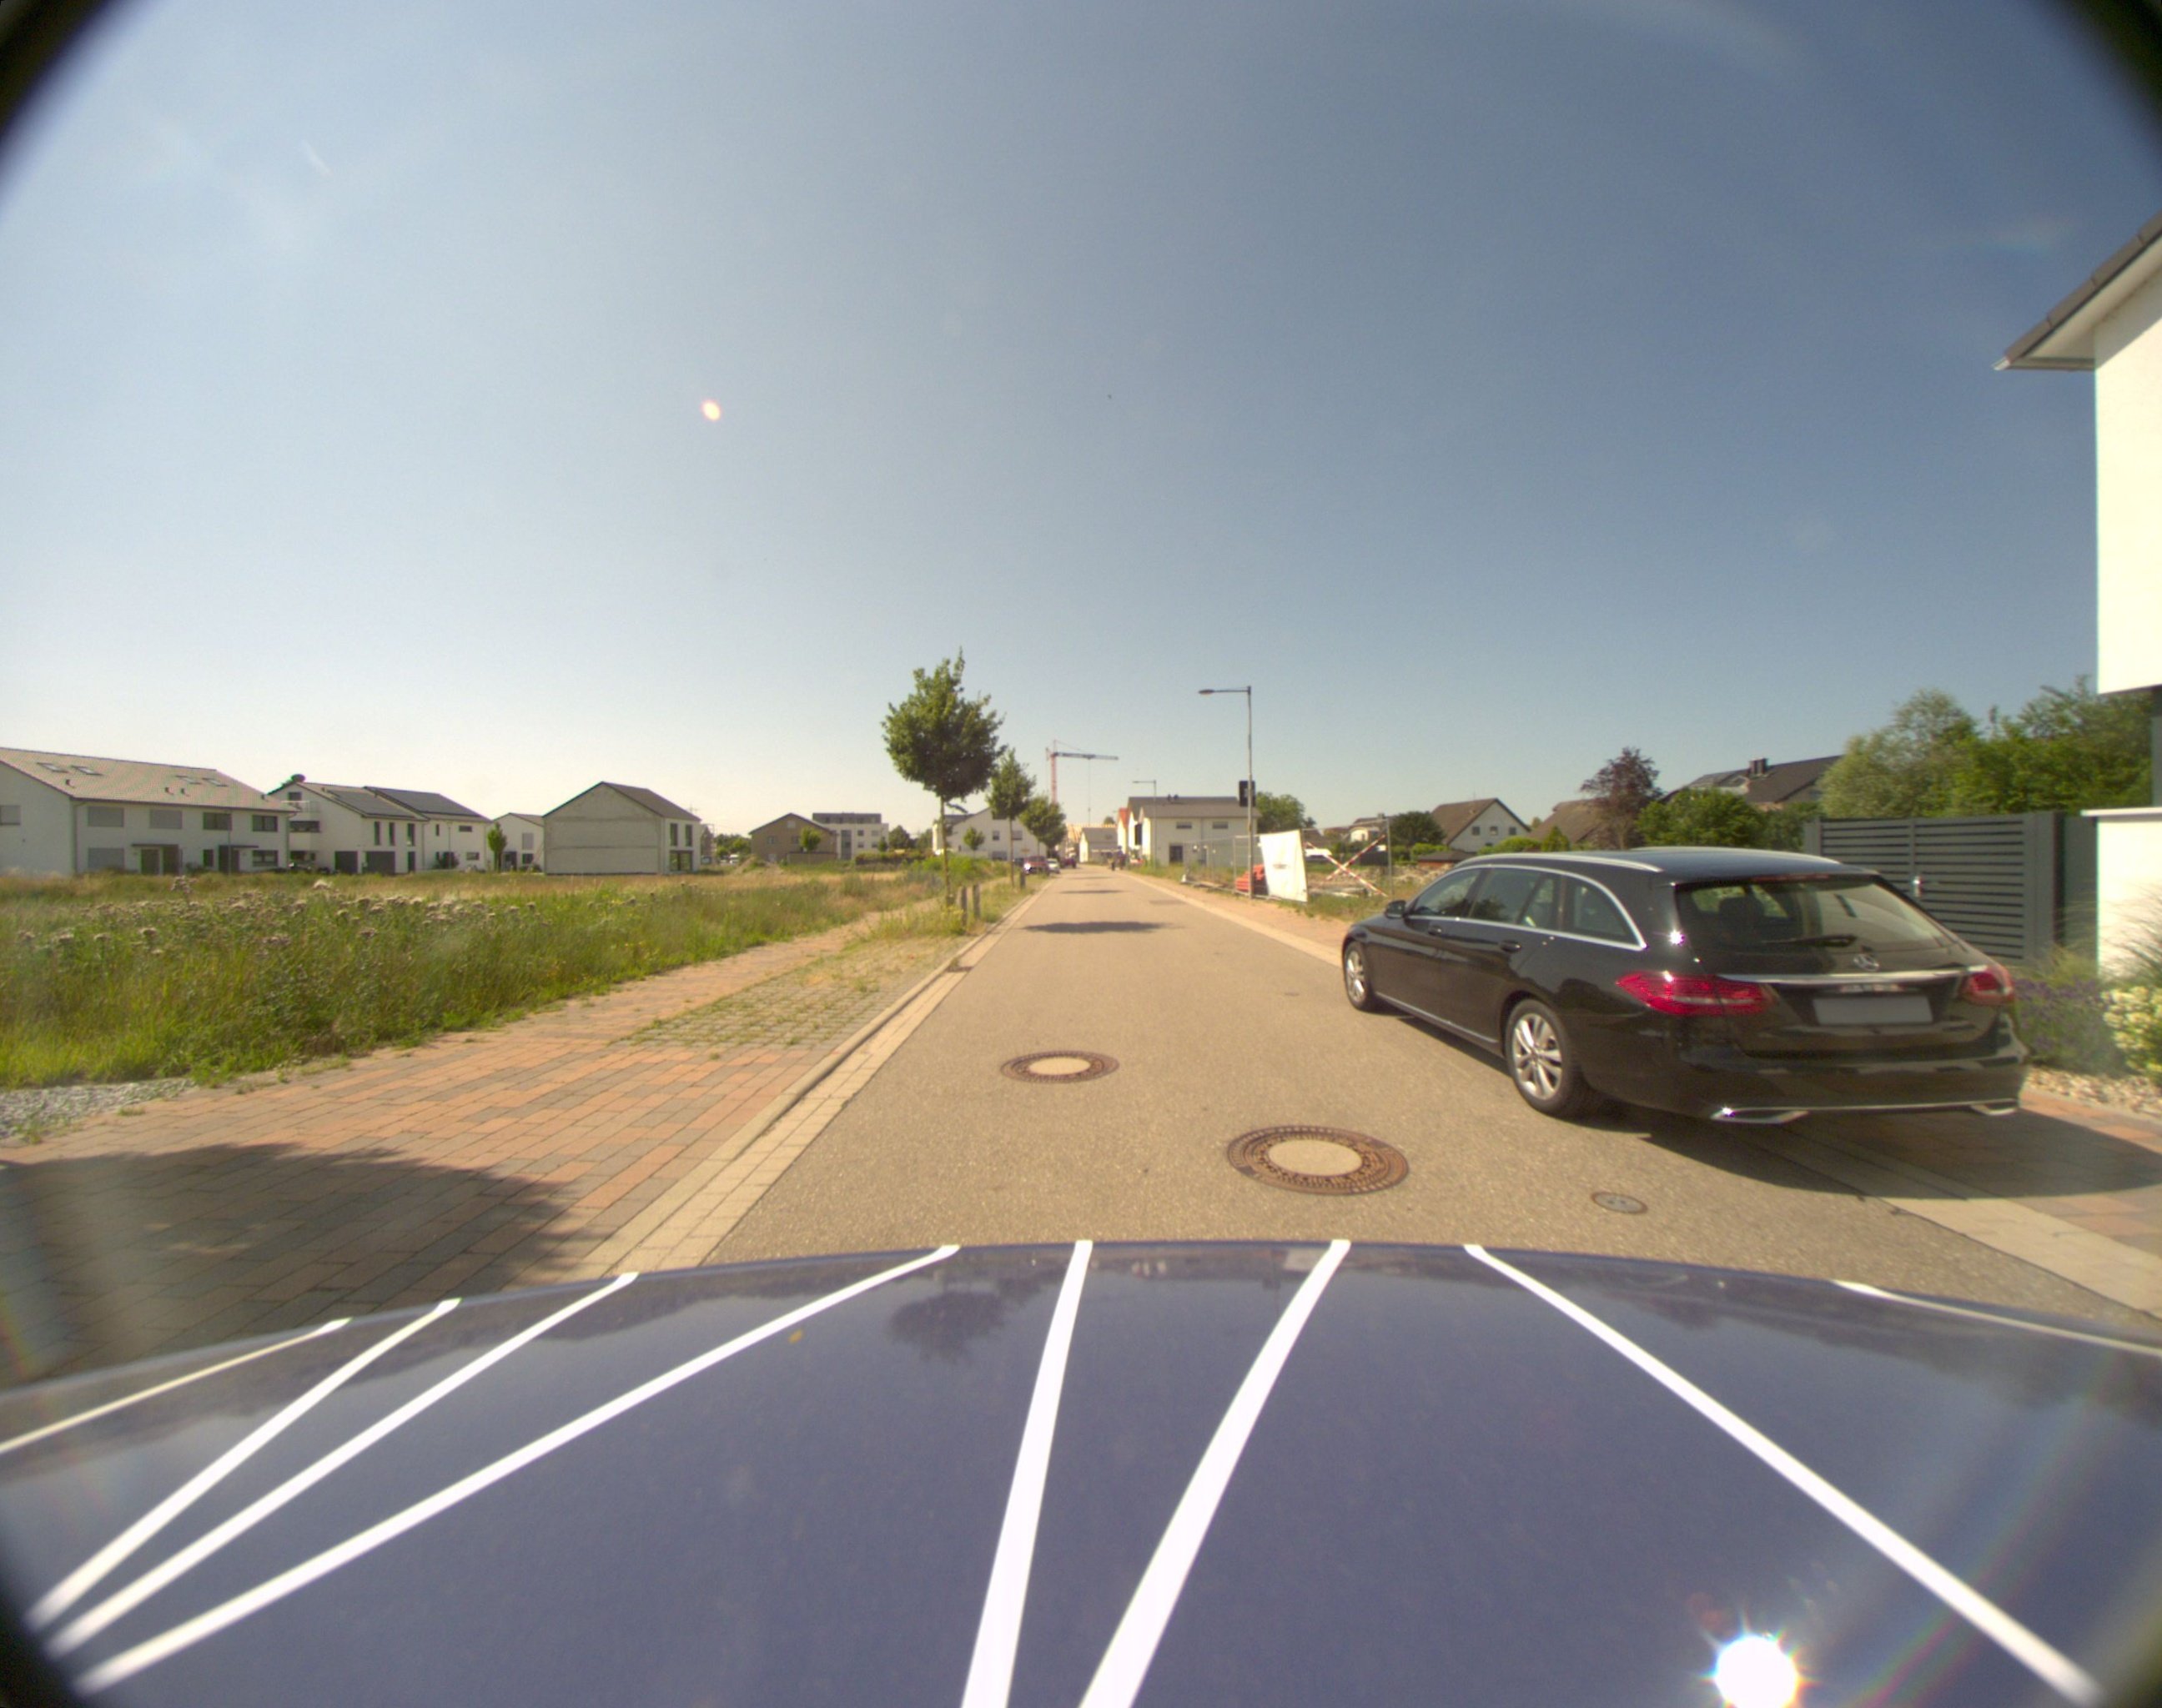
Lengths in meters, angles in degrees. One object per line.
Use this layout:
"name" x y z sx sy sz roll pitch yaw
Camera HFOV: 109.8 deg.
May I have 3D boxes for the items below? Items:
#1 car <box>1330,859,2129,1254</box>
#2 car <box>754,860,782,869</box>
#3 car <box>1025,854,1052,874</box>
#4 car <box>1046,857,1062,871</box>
"car" 3.308 0.822 5.239 1.695 1.464 4.444 -2 0 0
"car" -51.807 1.737 125.879 4.000 1.444 1.633 -1 0 -9
"car" -3.145 0.719 57.102 1.769 1.483 4.000 -1 0 0
"car" -2.696 1.006 76.448 1.493 1.389 3.272 -1 0 -1
